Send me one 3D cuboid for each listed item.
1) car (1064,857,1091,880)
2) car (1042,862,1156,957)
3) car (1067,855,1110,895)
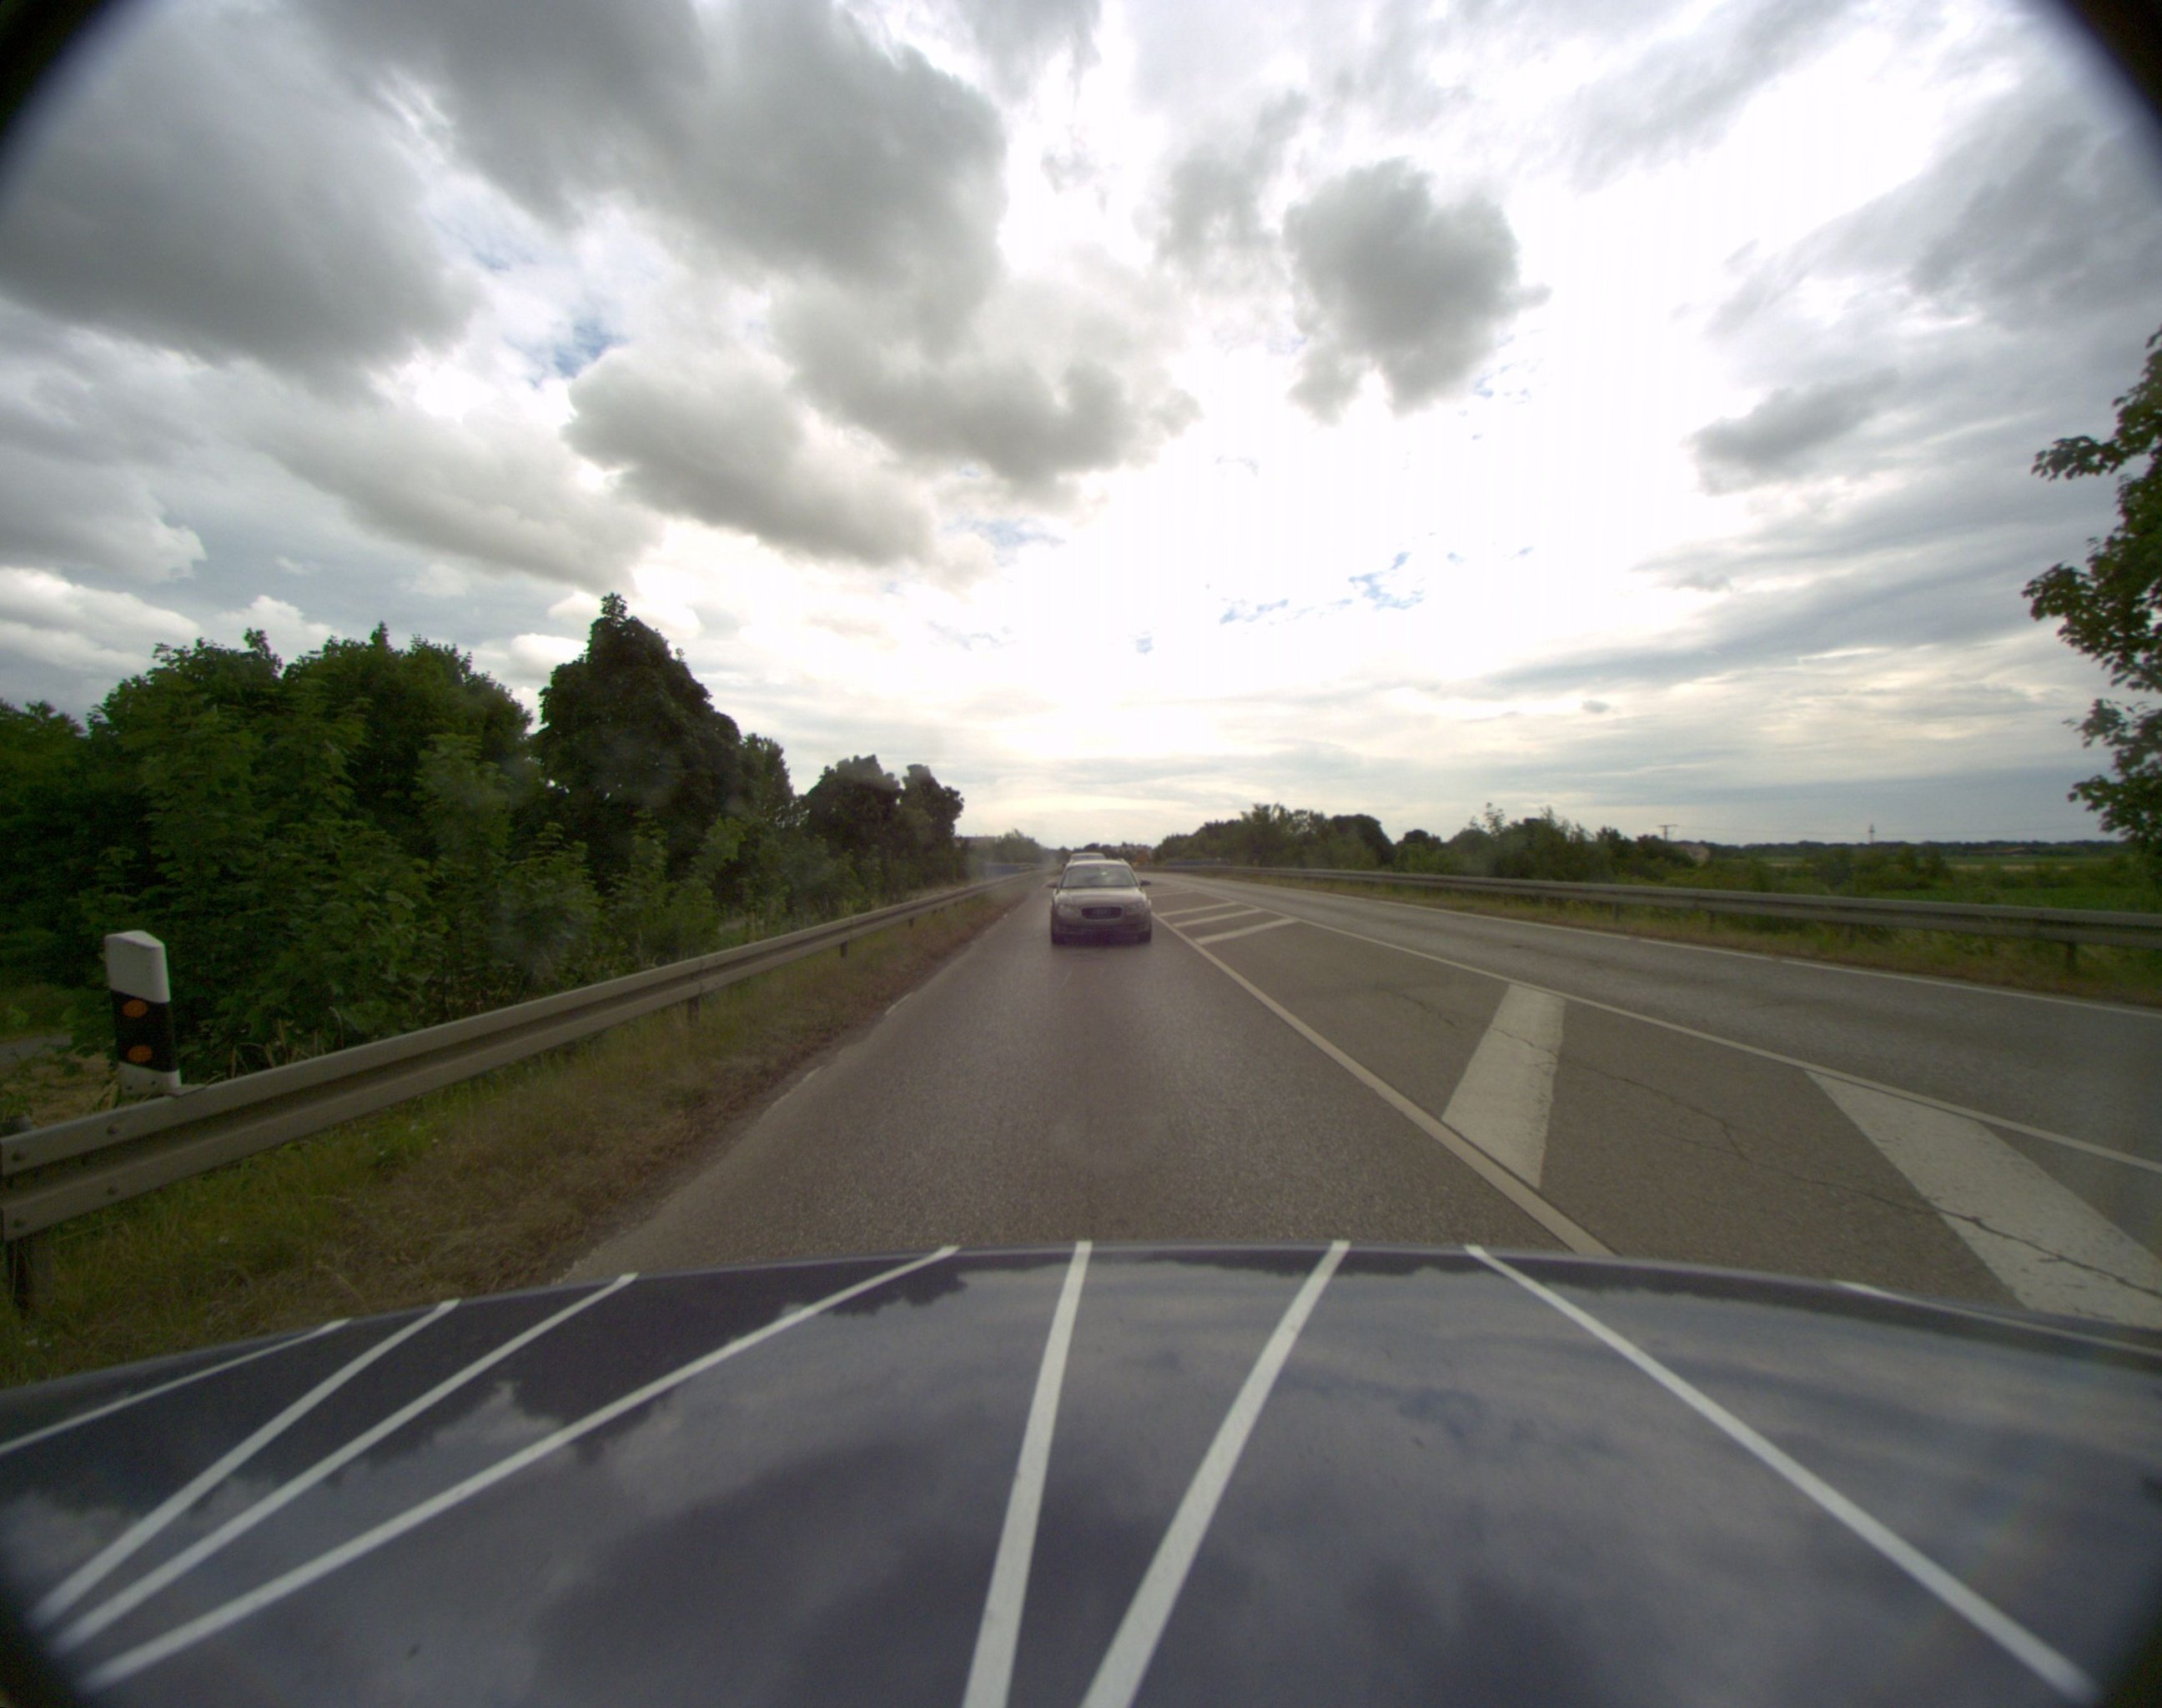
[{"bbox_3d":[-0.218,0.938,50.026,1.670,1.339,3.999,-2,1,-1],"label":"car"},{"bbox_3d":[0.263,0.906,14.044,1.768,1.383,3.875,-2,1,-1],"label":"car"},{"bbox_3d":[0.318,0.807,31.088,1.603,1.494,3.962,-2,0,0],"label":"car"}]
